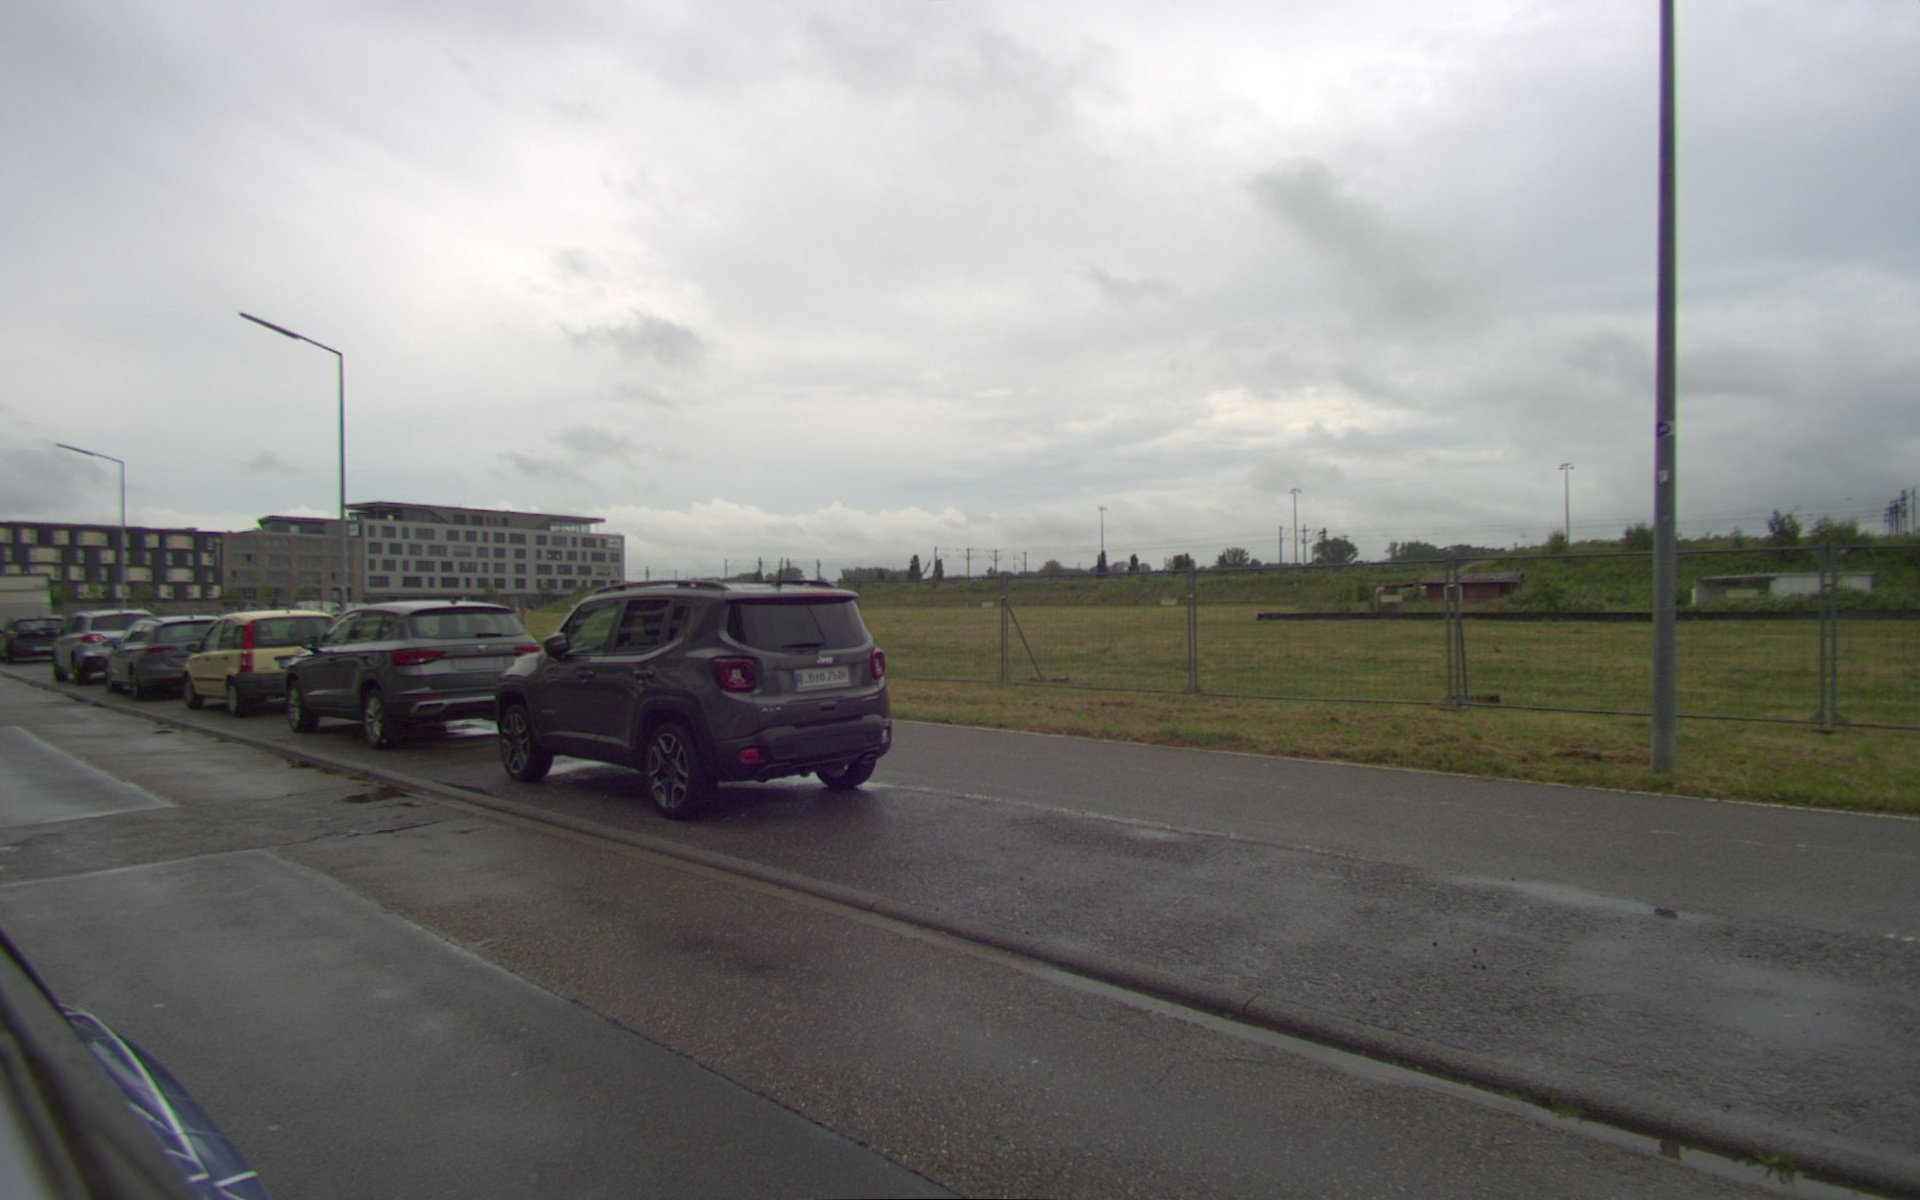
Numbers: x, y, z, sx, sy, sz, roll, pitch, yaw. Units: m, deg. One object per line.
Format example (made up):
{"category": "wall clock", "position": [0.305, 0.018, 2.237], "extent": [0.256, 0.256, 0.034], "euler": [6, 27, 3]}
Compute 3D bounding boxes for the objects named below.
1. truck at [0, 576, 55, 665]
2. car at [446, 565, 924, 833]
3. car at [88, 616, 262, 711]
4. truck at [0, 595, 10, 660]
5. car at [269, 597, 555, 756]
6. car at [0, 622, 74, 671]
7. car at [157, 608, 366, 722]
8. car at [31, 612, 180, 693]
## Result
{"category": "truck", "position": [-36.056, 0.778, 37.830], "extent": [6.696, 3.091, 2.411], "euler": [-1, 1, 41]}
{"category": "car", "position": [-2.634, 0.671, 8.762], "extent": [4.882, 1.705, 1.733], "euler": [-2, -1, 44]}
{"category": "car", "position": [-15.374, 1.129, 19.732], "extent": [4.669, 1.540, 1.818], "euler": [-1, 2, 42]}
{"category": "truck", "position": [-44.041, 1.266, 45.020], "extent": [6.736, 2.787, 2.019], "euler": [-1, 1, 42]}
{"category": "car", "position": [-6.761, 0.816, 12.305], "extent": [4.131, 1.602, 1.734], "euler": [-2, -1, 41]}
{"category": "car", "position": [-30.128, 1.452, 32.762], "extent": [4.155, 1.474, 1.655], "euler": [-1, -1, 41]}
{"category": "car", "position": [-11.340, 0.935, 16.318], "extent": [4.207, 1.587, 1.708], "euler": [-1, 0, 40]}
{"category": "car", "position": [-20.306, 1.167, 23.965], "extent": [4.985, 1.619, 1.834], "euler": [-1, 2, 40]}
